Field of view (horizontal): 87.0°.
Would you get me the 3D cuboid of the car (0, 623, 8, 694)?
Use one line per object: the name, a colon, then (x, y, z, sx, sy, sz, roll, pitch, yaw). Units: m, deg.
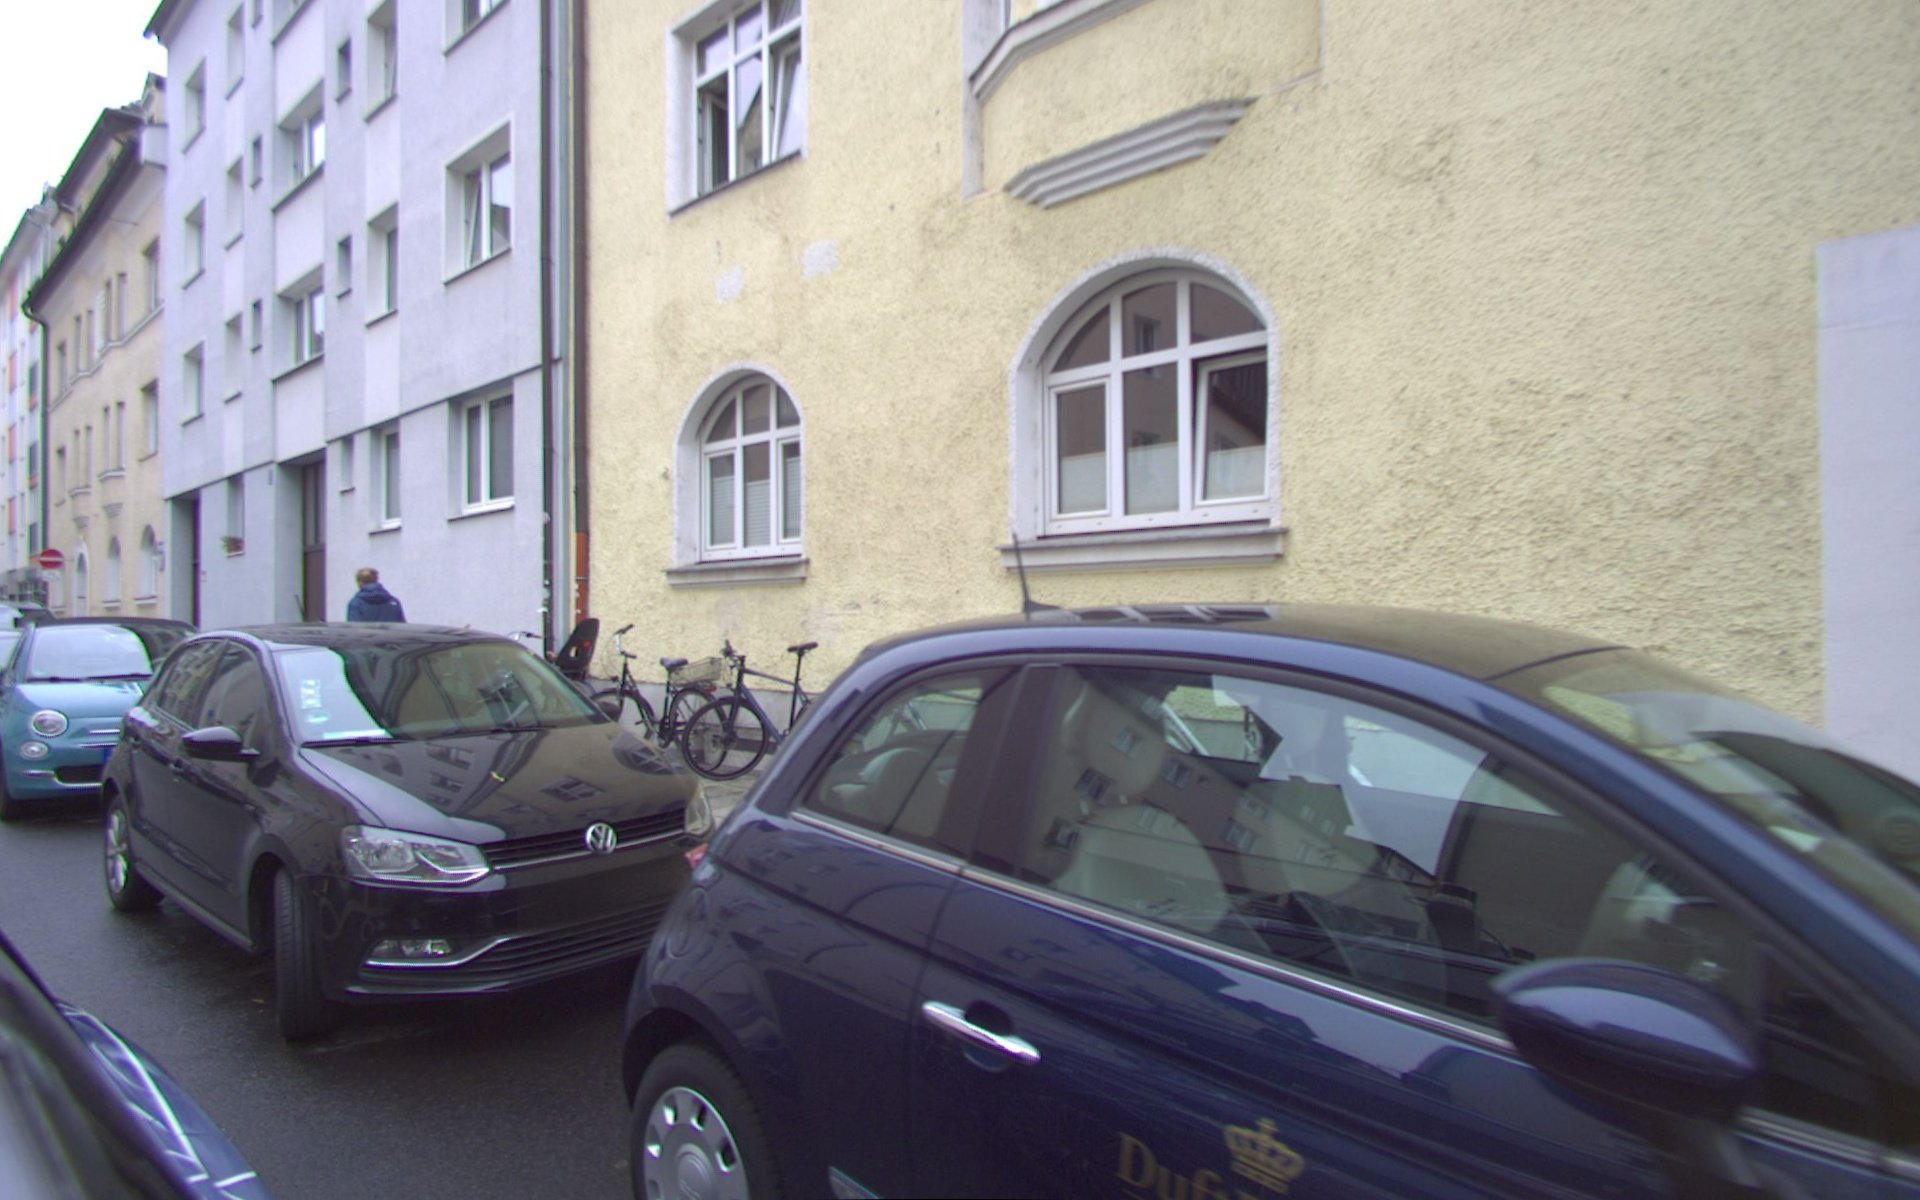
car: (-21.131, 1.195, 20.963, 3.732, 1.422, 1.635, -2, -4, 41)

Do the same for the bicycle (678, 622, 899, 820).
bicycle: (-1.268, 0.792, 7.270, 1.735, 1.243, 0.587, -1, 0, 41)

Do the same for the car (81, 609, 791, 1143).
car: (-2.601, 0.804, 4.620, 3.761, 1.471, 1.547, -1, -2, 40)

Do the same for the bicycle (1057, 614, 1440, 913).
bicycle: (1.369, 0.696, 5.032, 1.735, 1.243, 0.587, -1, 0, 41)

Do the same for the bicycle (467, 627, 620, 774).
bicycle: (-3.969, 0.892, 9.578, 1.735, 1.243, 0.630, -1, 0, 41)

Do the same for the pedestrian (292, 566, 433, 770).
pedestrian: (-5.599, 0.597, 9.484, 1.067, 1.778, 0.830, -1, 0, 41)

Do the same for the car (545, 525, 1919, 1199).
car: (0.822, 0.701, 1.769, 3.475, 1.471, 1.546, -1, -2, 43)

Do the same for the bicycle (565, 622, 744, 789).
bicycle: (-2.589, 0.819, 8.479, 1.735, 1.243, 0.587, -1, 0, 41)

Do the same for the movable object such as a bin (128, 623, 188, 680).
movable object such as a bin: (-16.278, 1.033, 20.537, 0.622, 1.059, 0.799, -1, 3, 40)

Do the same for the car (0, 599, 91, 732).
car: (-14.715, 0.902, 15.084, 4.731, 1.783, 1.844, -1, -3, 40)

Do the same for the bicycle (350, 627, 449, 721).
bicycle: (-6.730, 0.855, 12.125, 1.569, 1.038, 0.539, -1, 0, 41)

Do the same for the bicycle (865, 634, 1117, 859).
bicycle: (0.145, 0.824, 6.229, 1.632, 1.199, 0.434, -1, 0, 41)

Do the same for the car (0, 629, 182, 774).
car: (-10.814, 1.066, 11.848, 4.247, 1.397, 1.793, 0, -3, 40)

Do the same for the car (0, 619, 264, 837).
car: (-7.238, 0.906, 8.530, 3.404, 1.471, 1.546, -1, -2, 43)

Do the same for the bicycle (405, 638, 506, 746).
bicycle: (-5.373, 0.942, 10.740, 1.569, 1.038, 0.391, -1, 0, 41)
